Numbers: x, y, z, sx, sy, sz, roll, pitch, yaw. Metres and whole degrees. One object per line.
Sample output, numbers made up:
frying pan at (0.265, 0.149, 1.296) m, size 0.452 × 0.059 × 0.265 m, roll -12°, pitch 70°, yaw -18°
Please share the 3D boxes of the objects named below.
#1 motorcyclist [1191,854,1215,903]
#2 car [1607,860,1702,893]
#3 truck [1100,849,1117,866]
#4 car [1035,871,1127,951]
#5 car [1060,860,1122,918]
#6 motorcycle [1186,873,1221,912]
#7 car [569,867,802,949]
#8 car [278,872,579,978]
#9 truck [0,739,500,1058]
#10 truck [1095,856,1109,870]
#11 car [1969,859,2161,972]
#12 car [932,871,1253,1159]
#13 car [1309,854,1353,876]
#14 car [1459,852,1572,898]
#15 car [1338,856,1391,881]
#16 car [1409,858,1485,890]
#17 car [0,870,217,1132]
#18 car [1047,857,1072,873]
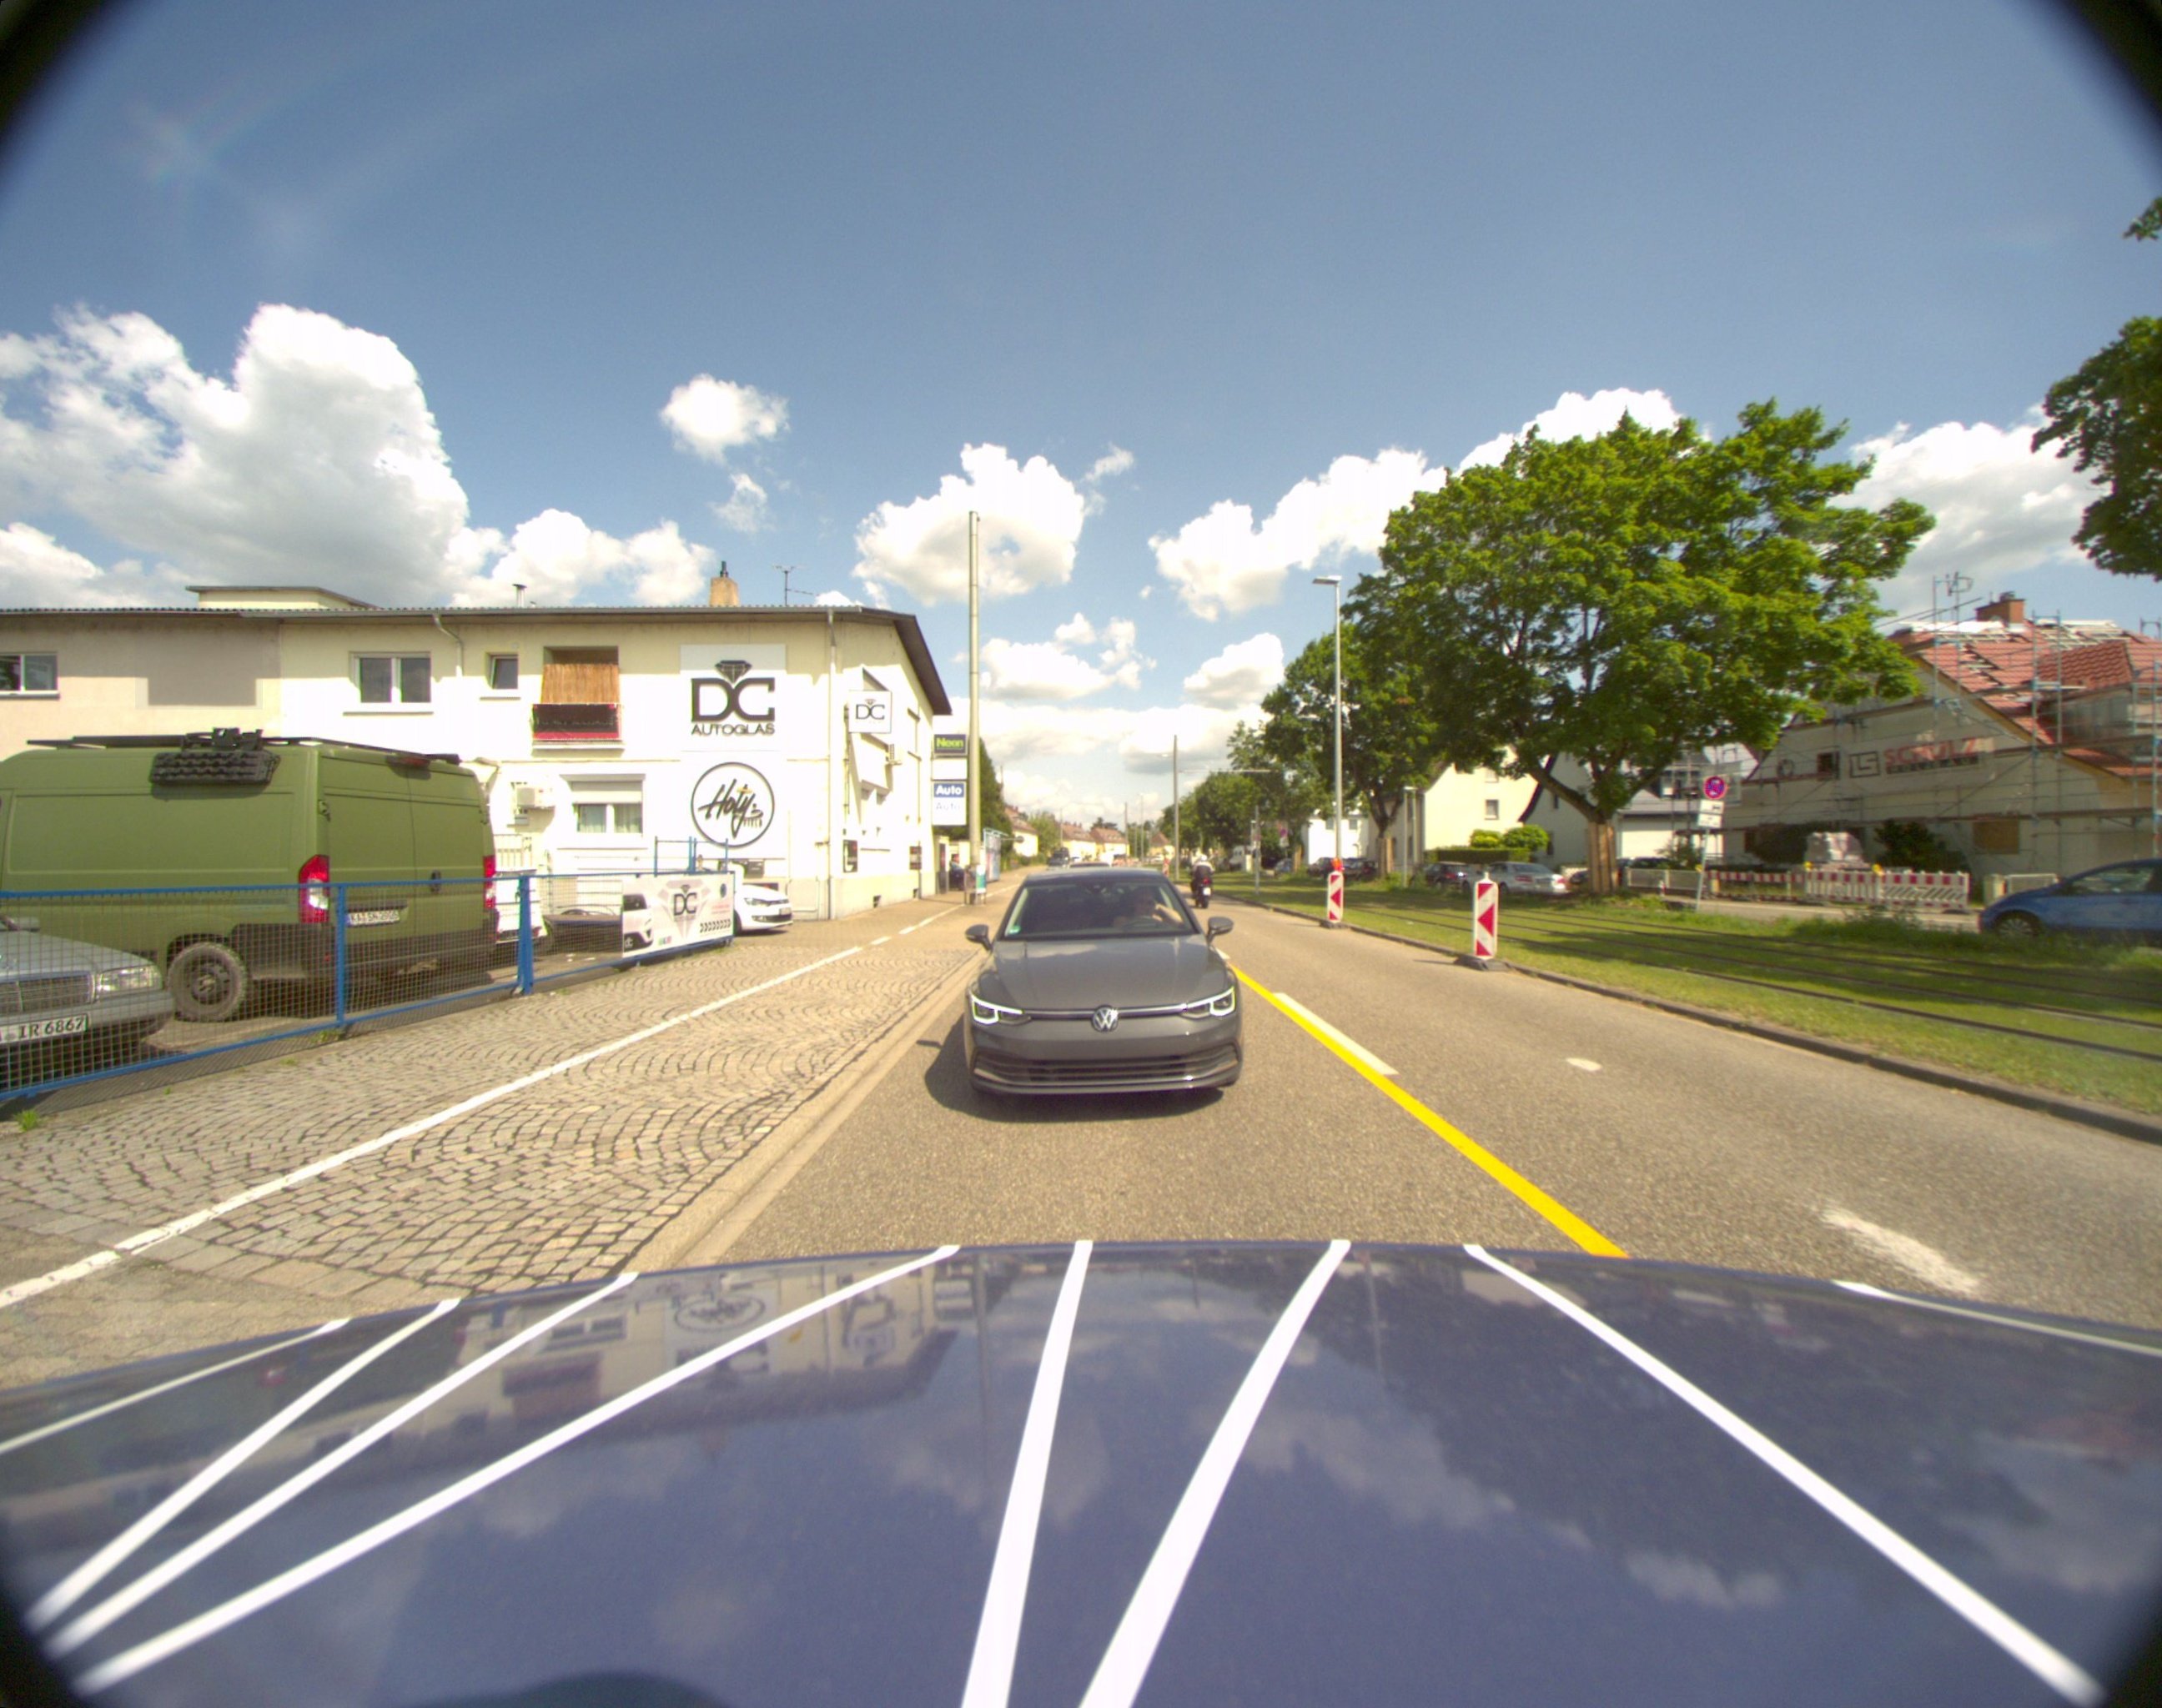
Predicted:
motorcyclist at (3.700, 0.735, 23.086) m, size 0.651 × 1.434 × 0.588 m, roll 0°, pitch 1°, yaw 1°
car at (25.939, 1.024, 34.482) m, size 3.238 × 1.374 × 1.490 m, roll -2°, pitch 1°, yaw 30°
truck at (4.891, 0.513, 134.909) m, size 2.665 × 2.786 × 7.539 m, roll -2°, pitch 1°, yaw 3°
car at (0.043, 1.034, 15.038) m, size 1.555 × 1.216 × 3.729 m, roll -2°, pitch 1°, yaw 1°
car at (0.286, 0.953, 22.036) m, size 1.594 × 1.418 × 3.707 m, roll -2°, pitch 1°, yaw 1°
motorcycle at (3.721, 1.138, 23.212) m, size 0.707 × 1.036 × 2.465 m, roll 0°, pitch 1°, yaw 1°
car at (-7.642, 1.026, 14.863) m, size 3.725 × 1.350 × 1.518 m, roll -2°, pitch 1°, yaw 4°
car at (-8.872, 0.935, 10.478) m, size 3.033 × 1.267 × 1.332 m, roll 1°, pitch 1°, yaw 2°
truck at (-8.781, 0.411, 7.613) m, size 4.181 × 2.645 × 2.108 m, roll -2°, pitch 1°, yaw 2°
truck at (4.845, 1.955, 175.099) m, size 2.631 × 2.871 × 7.925 m, roll -2°, pitch 1°, yaw 5°
car at (16.248, 0.901, 11.228) m, size 1.672 × 1.504 × 3.930 m, roll -2°, pitch 1°, yaw 0°
car at (0.116, 0.947, 6.410) m, size 1.743 × 1.410 × 4.381 m, roll -2°, pitch 1°, yaw 1°
car at (16.548, 0.734, 50.486) m, size 1.636 × 1.294 × 3.999 m, roll -2°, pitch 1°, yaw 1°
car at (16.396, 0.740, 28.960) m, size 1.707 × 1.504 × 4.524 m, roll -2°, pitch 1°, yaw 0°
car at (16.549, 0.802, 44.487) m, size 1.636 × 1.294 × 3.999 m, roll -2°, pitch 1°, yaw 1°
car at (16.594, 0.864, 34.632) m, size 1.625 × 1.235 × 3.786 m, roll -2°, pitch 1°, yaw 1°
car at (-8.449, 0.956, 4.818) m, size 4.257 × 1.499 × 1.828 m, roll -2°, pitch 1°, yaw 8°
car at (-1.988, 0.985, 71.032) m, size 1.823 × 1.412 × 4.002 m, roll 0°, pitch 0°, yaw 7°
